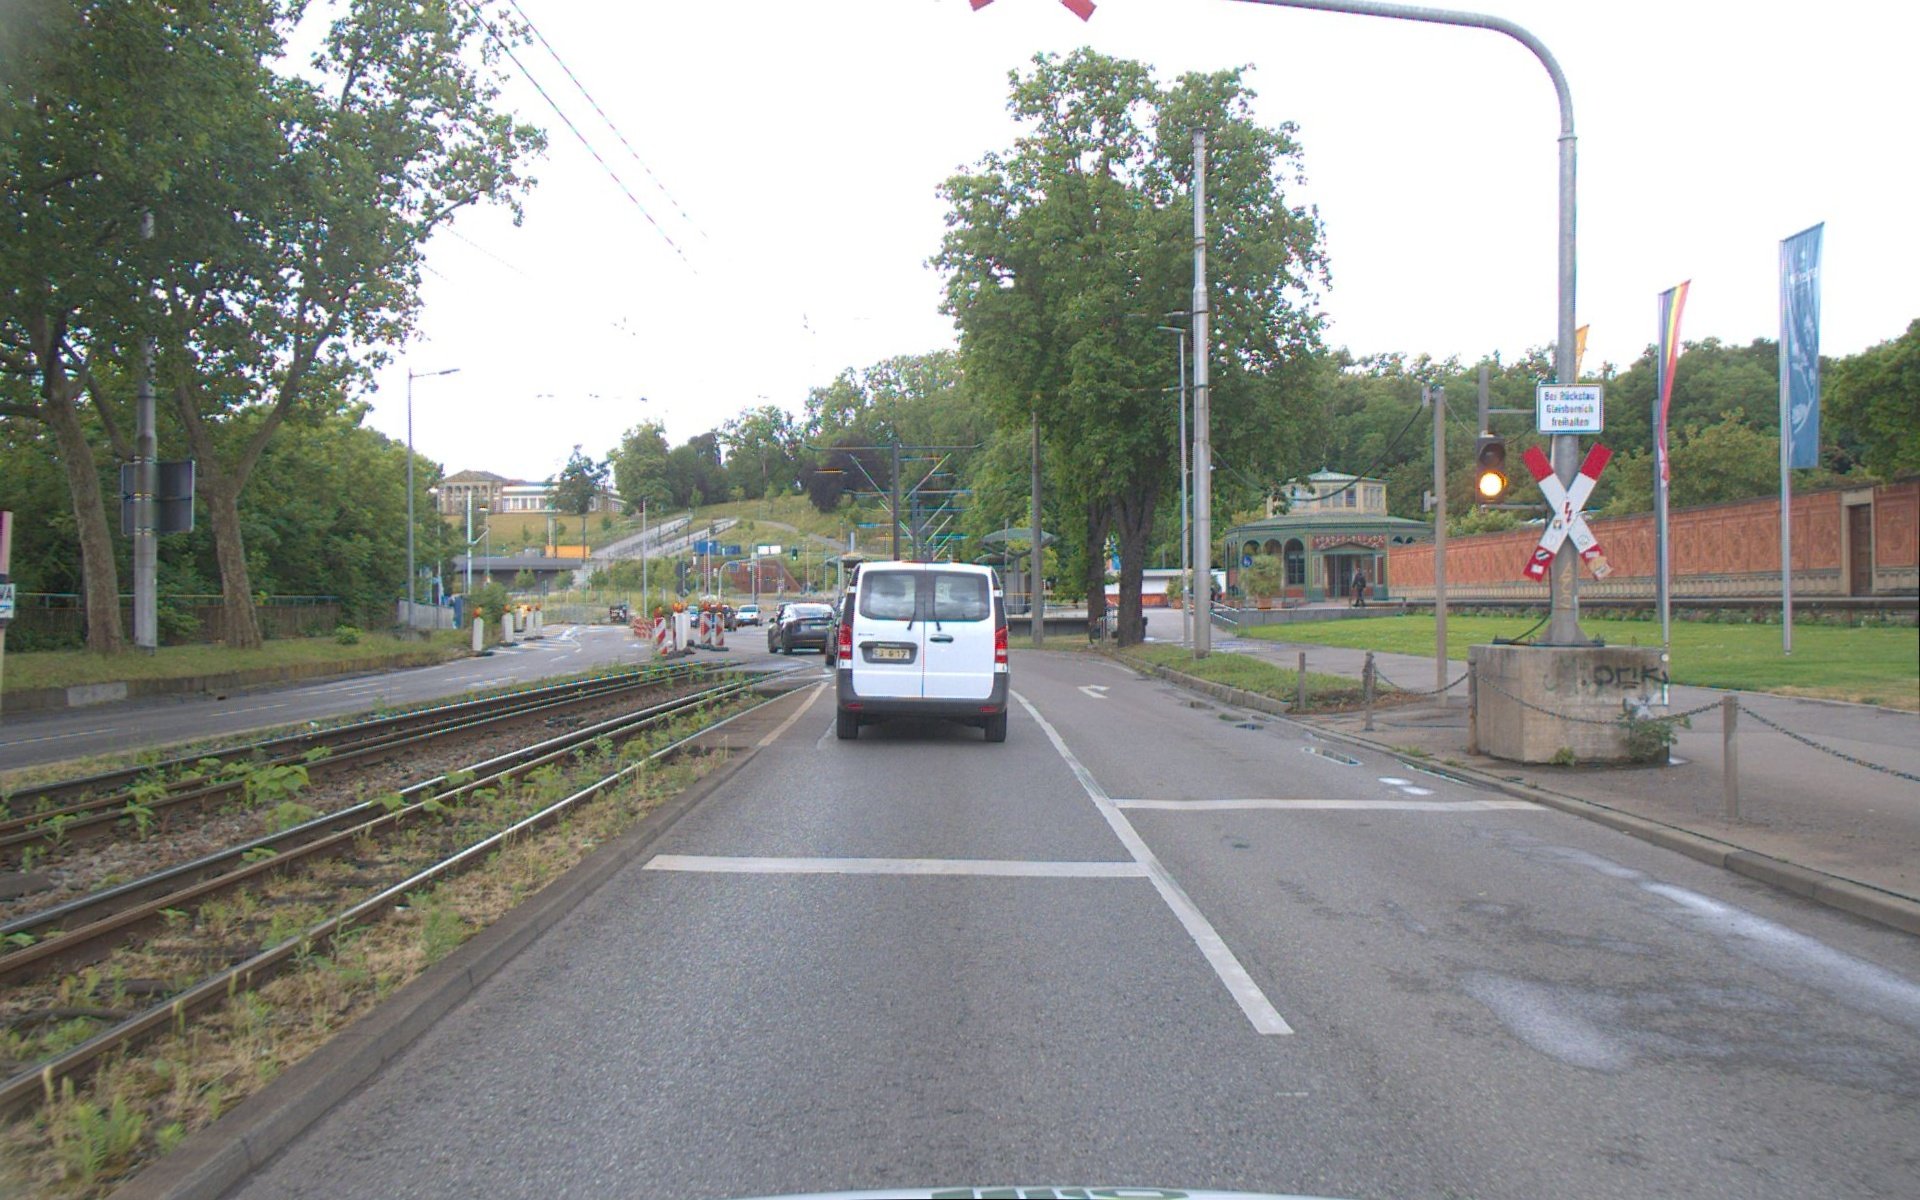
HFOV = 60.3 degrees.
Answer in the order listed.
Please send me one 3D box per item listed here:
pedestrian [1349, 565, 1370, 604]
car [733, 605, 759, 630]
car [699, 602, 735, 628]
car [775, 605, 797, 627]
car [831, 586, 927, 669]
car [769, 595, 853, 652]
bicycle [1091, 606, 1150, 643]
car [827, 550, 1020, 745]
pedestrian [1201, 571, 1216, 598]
[{"bbox_3d":[19.289,-0.732,79.823,0.929,1.870,0.550,1,-1,7],"label":"pedestrian"},{"bbox_3d":[-18.169,1.460,140.500,1.896,2.049,3.996,1,-1,-4],"label":"car"},{"bbox_3d":[-14.213,0.890,96.599,1.806,1.493,4.049,1,-1,-12],"label":"car"},{"bbox_3d":[-14.283,1.322,135.639,1.719,1.803,3.994,1,-1,-6],"label":"car"},{"bbox_3d":[-1.889,0.606,37.394,1.804,1.759,4.054,1,-1,-8],"label":"car"},{"bbox_3d":[-4.442,0.682,48.826,1.808,1.610,4.045,1,-1,-15],"label":"car"},{"bbox_3d":[5.357,0.819,55.244,1.949,1.178,0.741,-1,-1,4],"label":"bicycle"},{"bbox_3d":[-0.395,0.504,18.825,1.919,1.937,4.460,1,-1,-1],"label":"car"},{"bbox_3d":[11.230,-0.701,74.730,0.537,1.222,0.668,1,-1,-7],"label":"pedestrian"}]
